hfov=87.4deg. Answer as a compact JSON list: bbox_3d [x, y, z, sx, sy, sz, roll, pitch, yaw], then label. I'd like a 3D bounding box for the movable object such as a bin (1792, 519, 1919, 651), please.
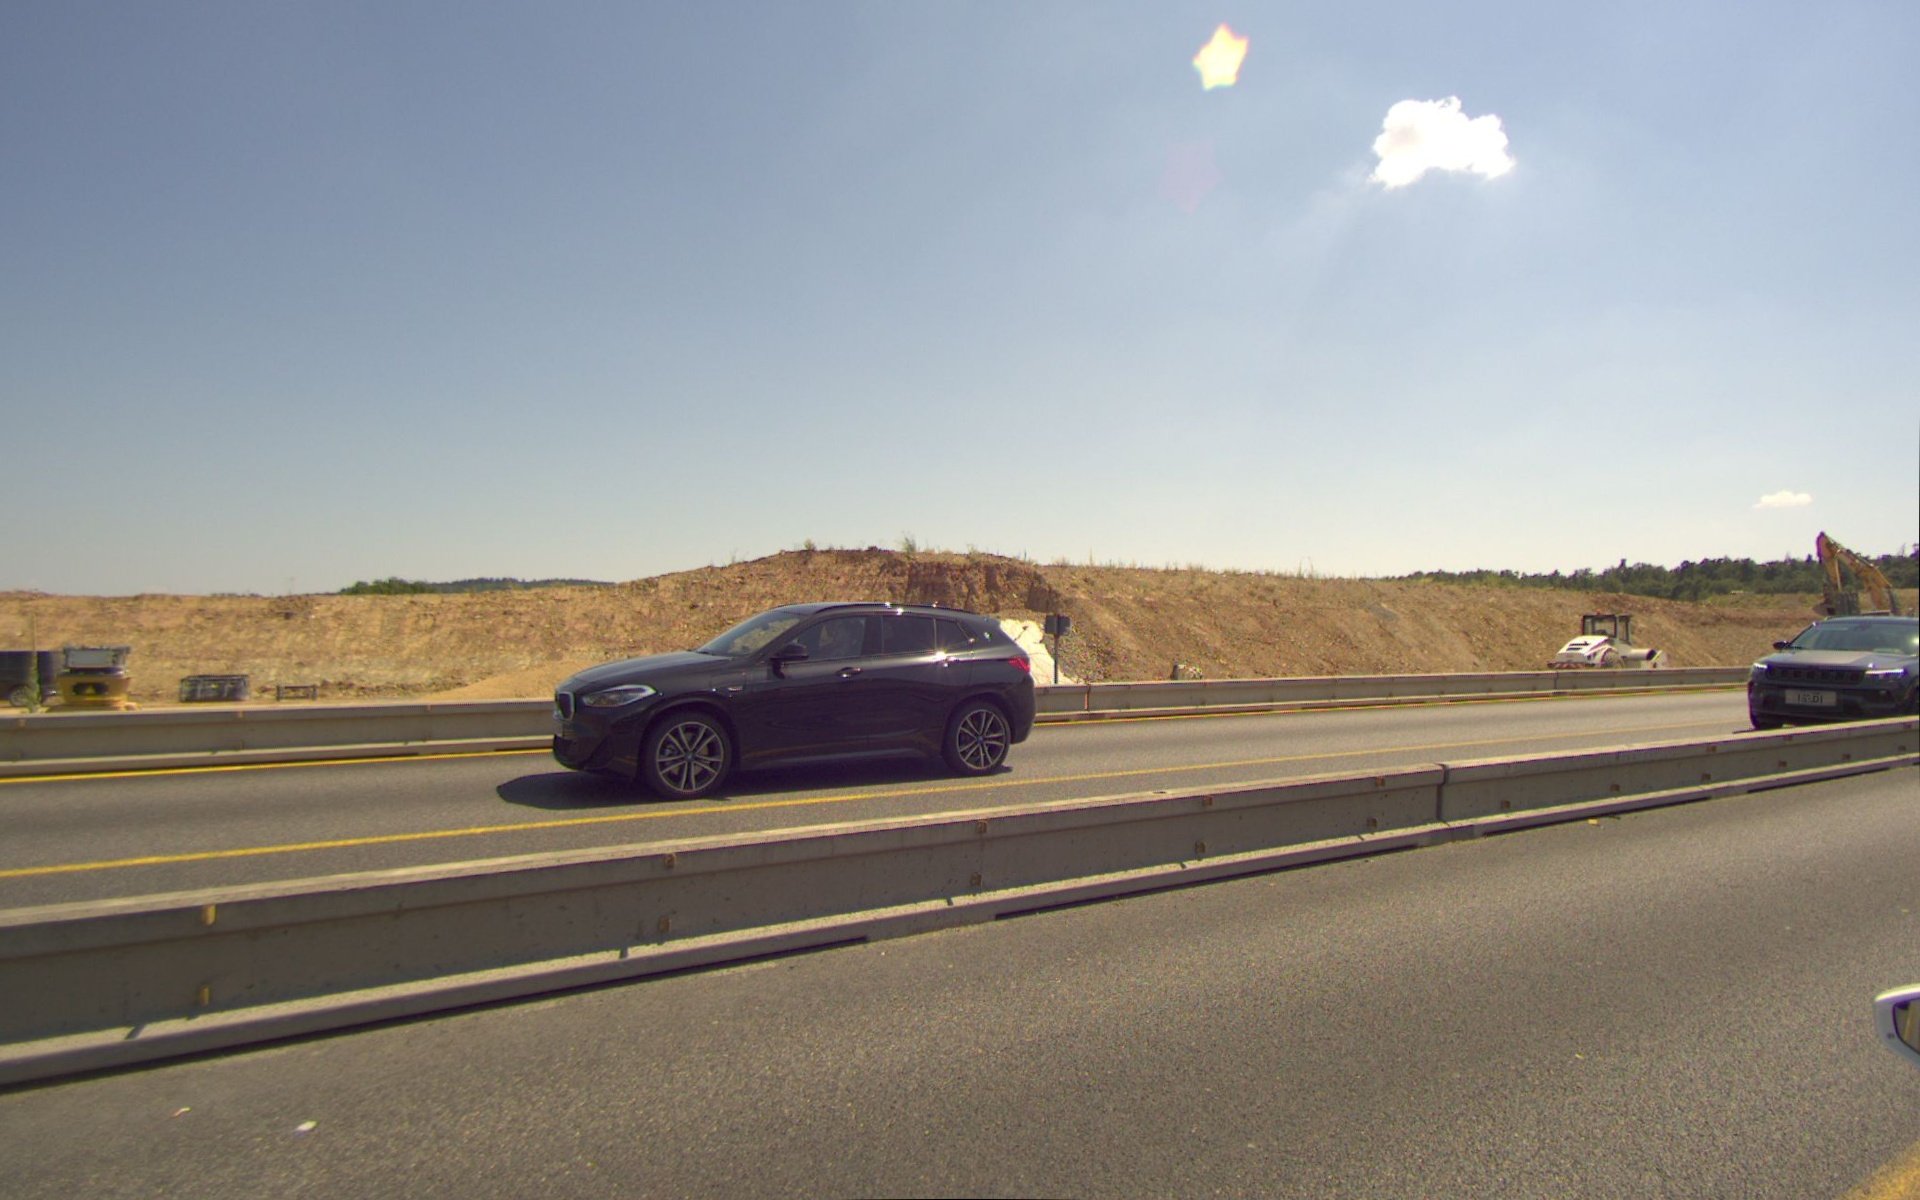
[{"bbox_3d":[57.003,-0.822,62.324,3.403,7.815,7.606,1,-1,-28],"label":"movable object such as a bin"}]

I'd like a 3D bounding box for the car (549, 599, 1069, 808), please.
[{"bbox_3d":[-1.263,0.797,9.080,4.343,1.498,1.716,1,-1,-31],"label":"car"}]

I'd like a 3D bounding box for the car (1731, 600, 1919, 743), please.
[{"bbox_3d":[13.260,0.936,14.427,4.980,1.764,1.763,1,-1,-31],"label":"car"}]

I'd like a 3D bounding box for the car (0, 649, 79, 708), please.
[{"bbox_3d":[-33.874,2.736,35.098,4.525,1.950,1.978,1,-1,-39],"label":"car"}]

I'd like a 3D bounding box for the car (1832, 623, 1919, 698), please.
[{"bbox_3d":[21.230,1.277,22.041,4.523,1.520,1.851,1,-1,-31],"label":"car"}]

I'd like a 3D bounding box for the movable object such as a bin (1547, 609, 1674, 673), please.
[{"bbox_3d":[27.155,1.694,41.837,6.666,2.493,1.693,1,-1,-31],"label":"movable object such as a bin"}]
